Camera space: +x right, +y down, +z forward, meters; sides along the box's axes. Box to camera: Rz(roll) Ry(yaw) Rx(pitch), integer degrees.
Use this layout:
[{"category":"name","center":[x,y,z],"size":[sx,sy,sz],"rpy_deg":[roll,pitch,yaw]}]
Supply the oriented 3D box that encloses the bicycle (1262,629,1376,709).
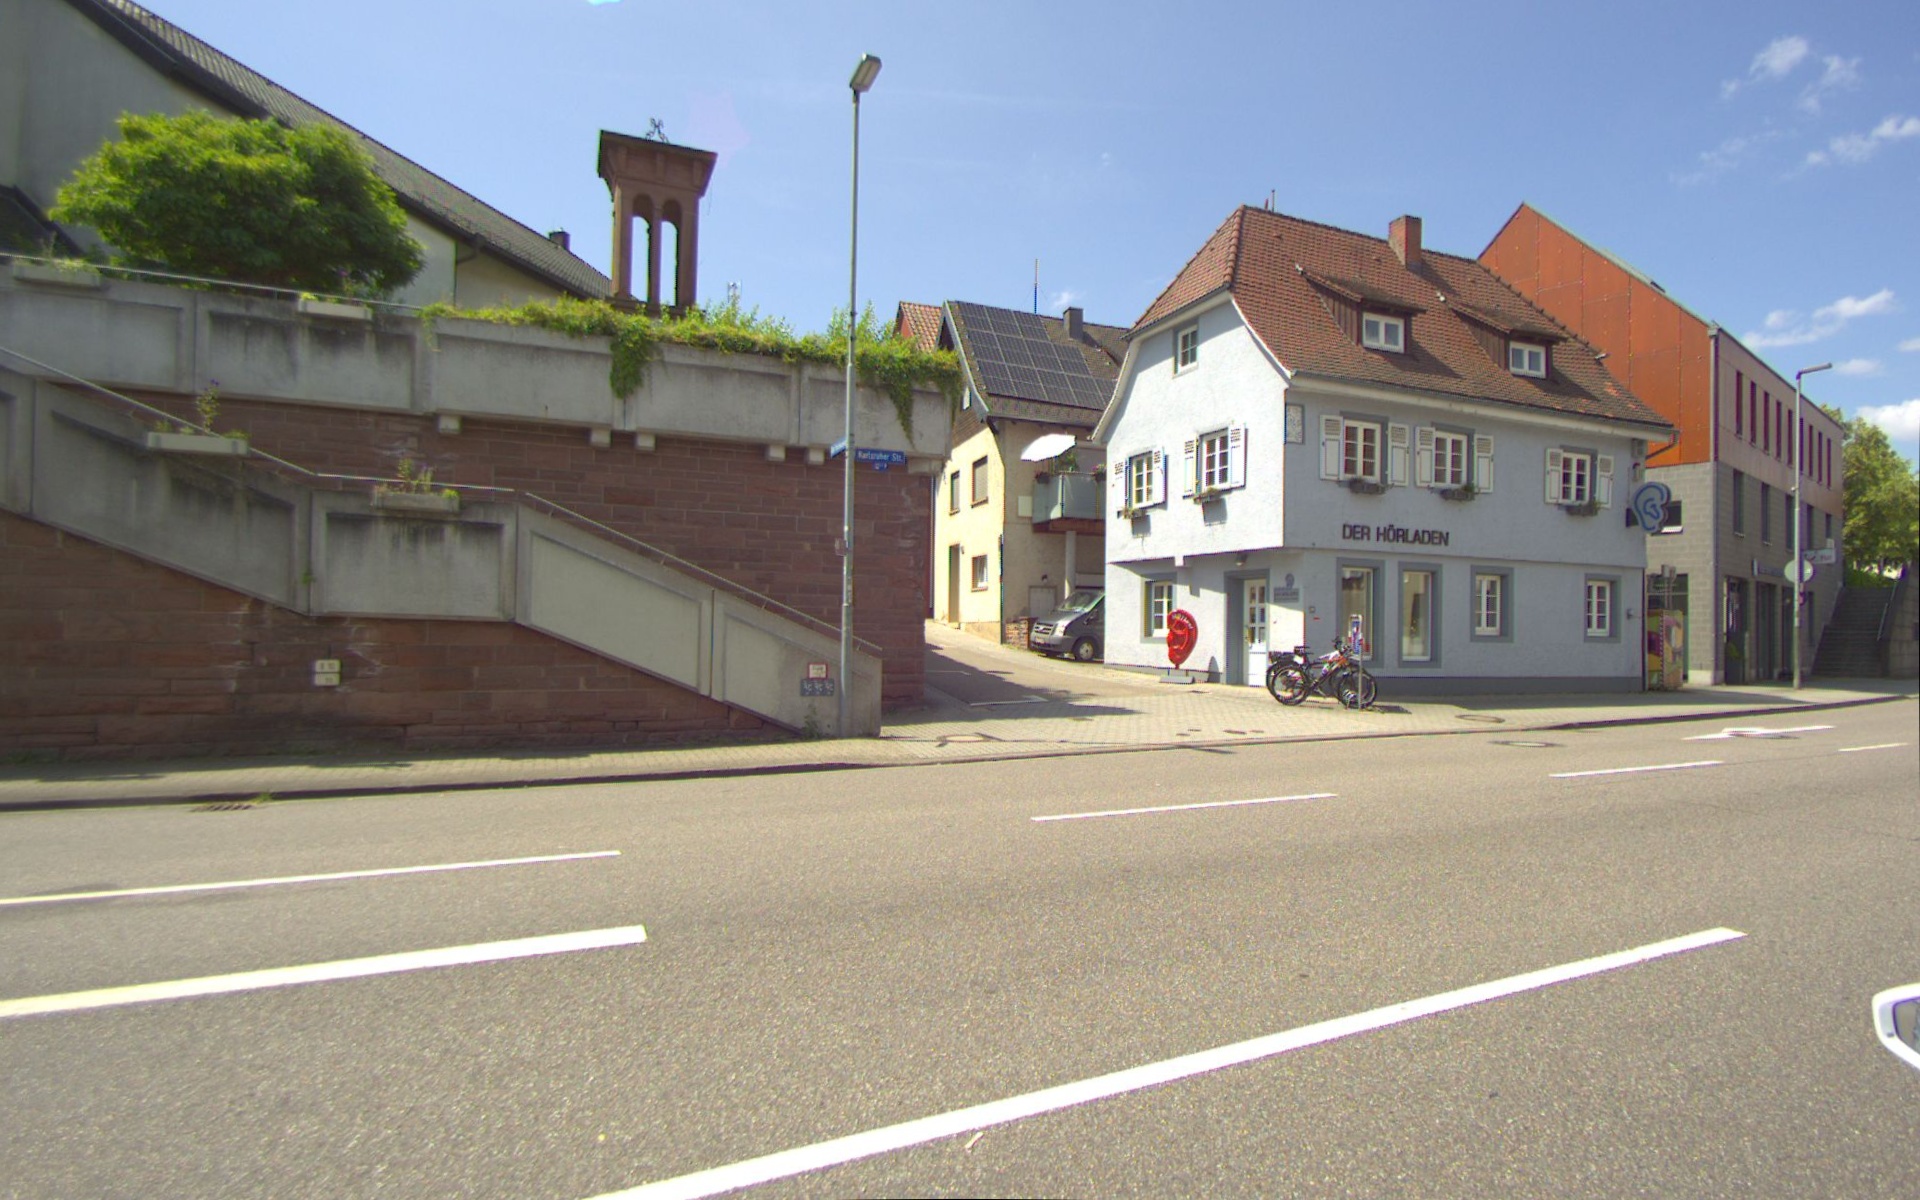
[{"category":"bicycle","center":[6.282,1.188,17.669],"size":[1.794,1.266,0.579],"rpy_deg":[2,2,15]}]

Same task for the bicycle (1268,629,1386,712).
[{"category":"bicycle","center":[6.188,1.176,17.022],"size":[1.794,1.266,0.579],"rpy_deg":[2,2,15]}]

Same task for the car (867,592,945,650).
[{"category":"car","center":[-1.622,0.569,28.986],"size":[1.949,1.541,3.995],"rpy_deg":[1,0,-7]}]

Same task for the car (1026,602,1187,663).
[{"category":"car","center":[3.950,0.879,27.340],"size":[3.930,1.503,1.861],"rpy_deg":[2,-1,-12]}]

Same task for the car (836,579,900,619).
[{"category":"car","center":[-3.879,-0.074,41.650],"size":[1.739,1.379,3.982],"rpy_deg":[1,4,-19]}]
